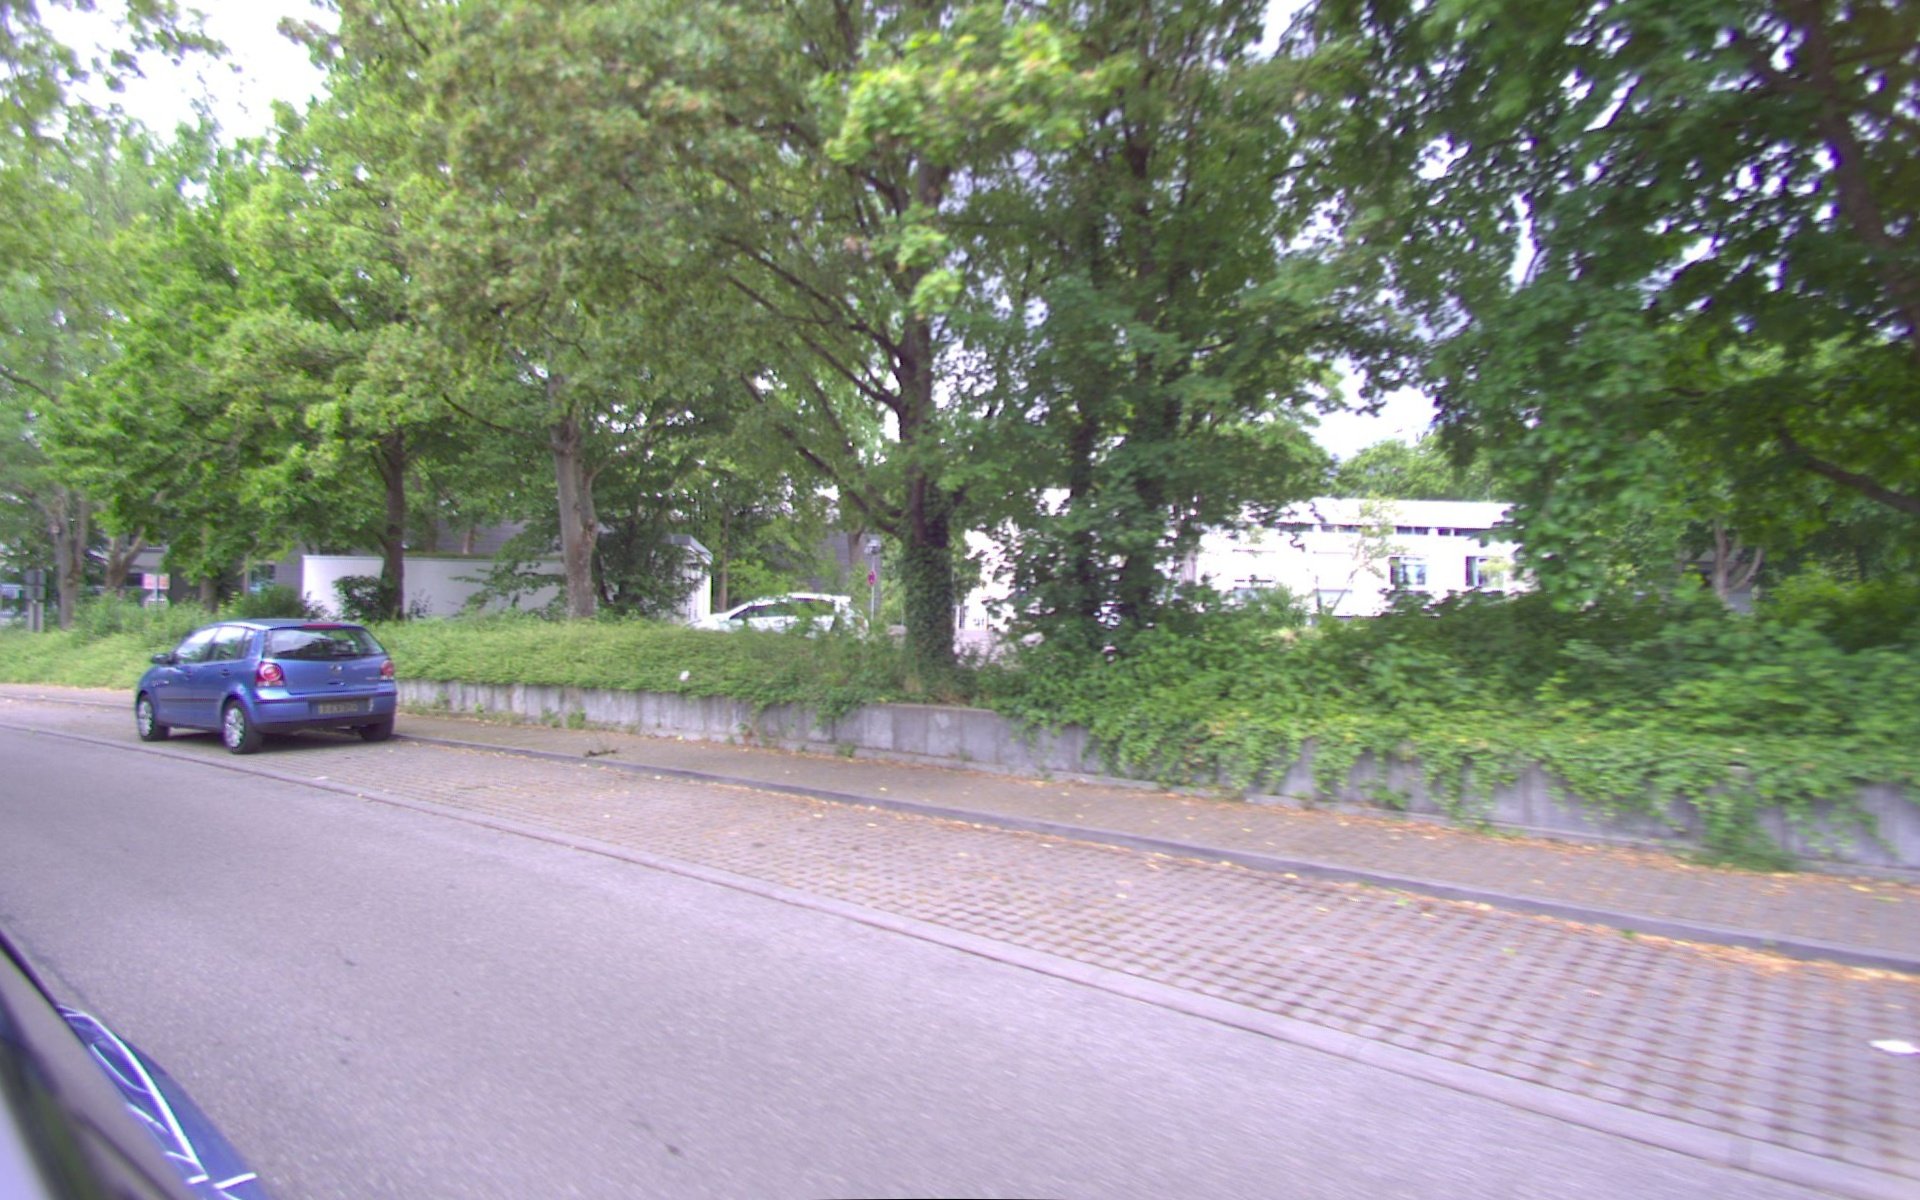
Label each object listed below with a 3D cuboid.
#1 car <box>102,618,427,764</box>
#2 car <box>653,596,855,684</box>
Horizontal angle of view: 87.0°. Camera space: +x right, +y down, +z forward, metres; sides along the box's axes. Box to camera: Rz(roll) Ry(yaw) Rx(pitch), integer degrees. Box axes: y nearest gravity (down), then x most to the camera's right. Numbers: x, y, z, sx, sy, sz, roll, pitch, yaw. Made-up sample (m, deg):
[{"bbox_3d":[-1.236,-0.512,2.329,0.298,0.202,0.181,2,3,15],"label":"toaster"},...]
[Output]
[{"bbox_3d":[-8.502,1.004,12.313,3.986,1.503,1.834,-2,-2,32],"label":"car"},{"bbox_3d":[-4.098,0.773,20.619,3.756,1.650,2.001,-1,0,-2],"label":"car"}]
